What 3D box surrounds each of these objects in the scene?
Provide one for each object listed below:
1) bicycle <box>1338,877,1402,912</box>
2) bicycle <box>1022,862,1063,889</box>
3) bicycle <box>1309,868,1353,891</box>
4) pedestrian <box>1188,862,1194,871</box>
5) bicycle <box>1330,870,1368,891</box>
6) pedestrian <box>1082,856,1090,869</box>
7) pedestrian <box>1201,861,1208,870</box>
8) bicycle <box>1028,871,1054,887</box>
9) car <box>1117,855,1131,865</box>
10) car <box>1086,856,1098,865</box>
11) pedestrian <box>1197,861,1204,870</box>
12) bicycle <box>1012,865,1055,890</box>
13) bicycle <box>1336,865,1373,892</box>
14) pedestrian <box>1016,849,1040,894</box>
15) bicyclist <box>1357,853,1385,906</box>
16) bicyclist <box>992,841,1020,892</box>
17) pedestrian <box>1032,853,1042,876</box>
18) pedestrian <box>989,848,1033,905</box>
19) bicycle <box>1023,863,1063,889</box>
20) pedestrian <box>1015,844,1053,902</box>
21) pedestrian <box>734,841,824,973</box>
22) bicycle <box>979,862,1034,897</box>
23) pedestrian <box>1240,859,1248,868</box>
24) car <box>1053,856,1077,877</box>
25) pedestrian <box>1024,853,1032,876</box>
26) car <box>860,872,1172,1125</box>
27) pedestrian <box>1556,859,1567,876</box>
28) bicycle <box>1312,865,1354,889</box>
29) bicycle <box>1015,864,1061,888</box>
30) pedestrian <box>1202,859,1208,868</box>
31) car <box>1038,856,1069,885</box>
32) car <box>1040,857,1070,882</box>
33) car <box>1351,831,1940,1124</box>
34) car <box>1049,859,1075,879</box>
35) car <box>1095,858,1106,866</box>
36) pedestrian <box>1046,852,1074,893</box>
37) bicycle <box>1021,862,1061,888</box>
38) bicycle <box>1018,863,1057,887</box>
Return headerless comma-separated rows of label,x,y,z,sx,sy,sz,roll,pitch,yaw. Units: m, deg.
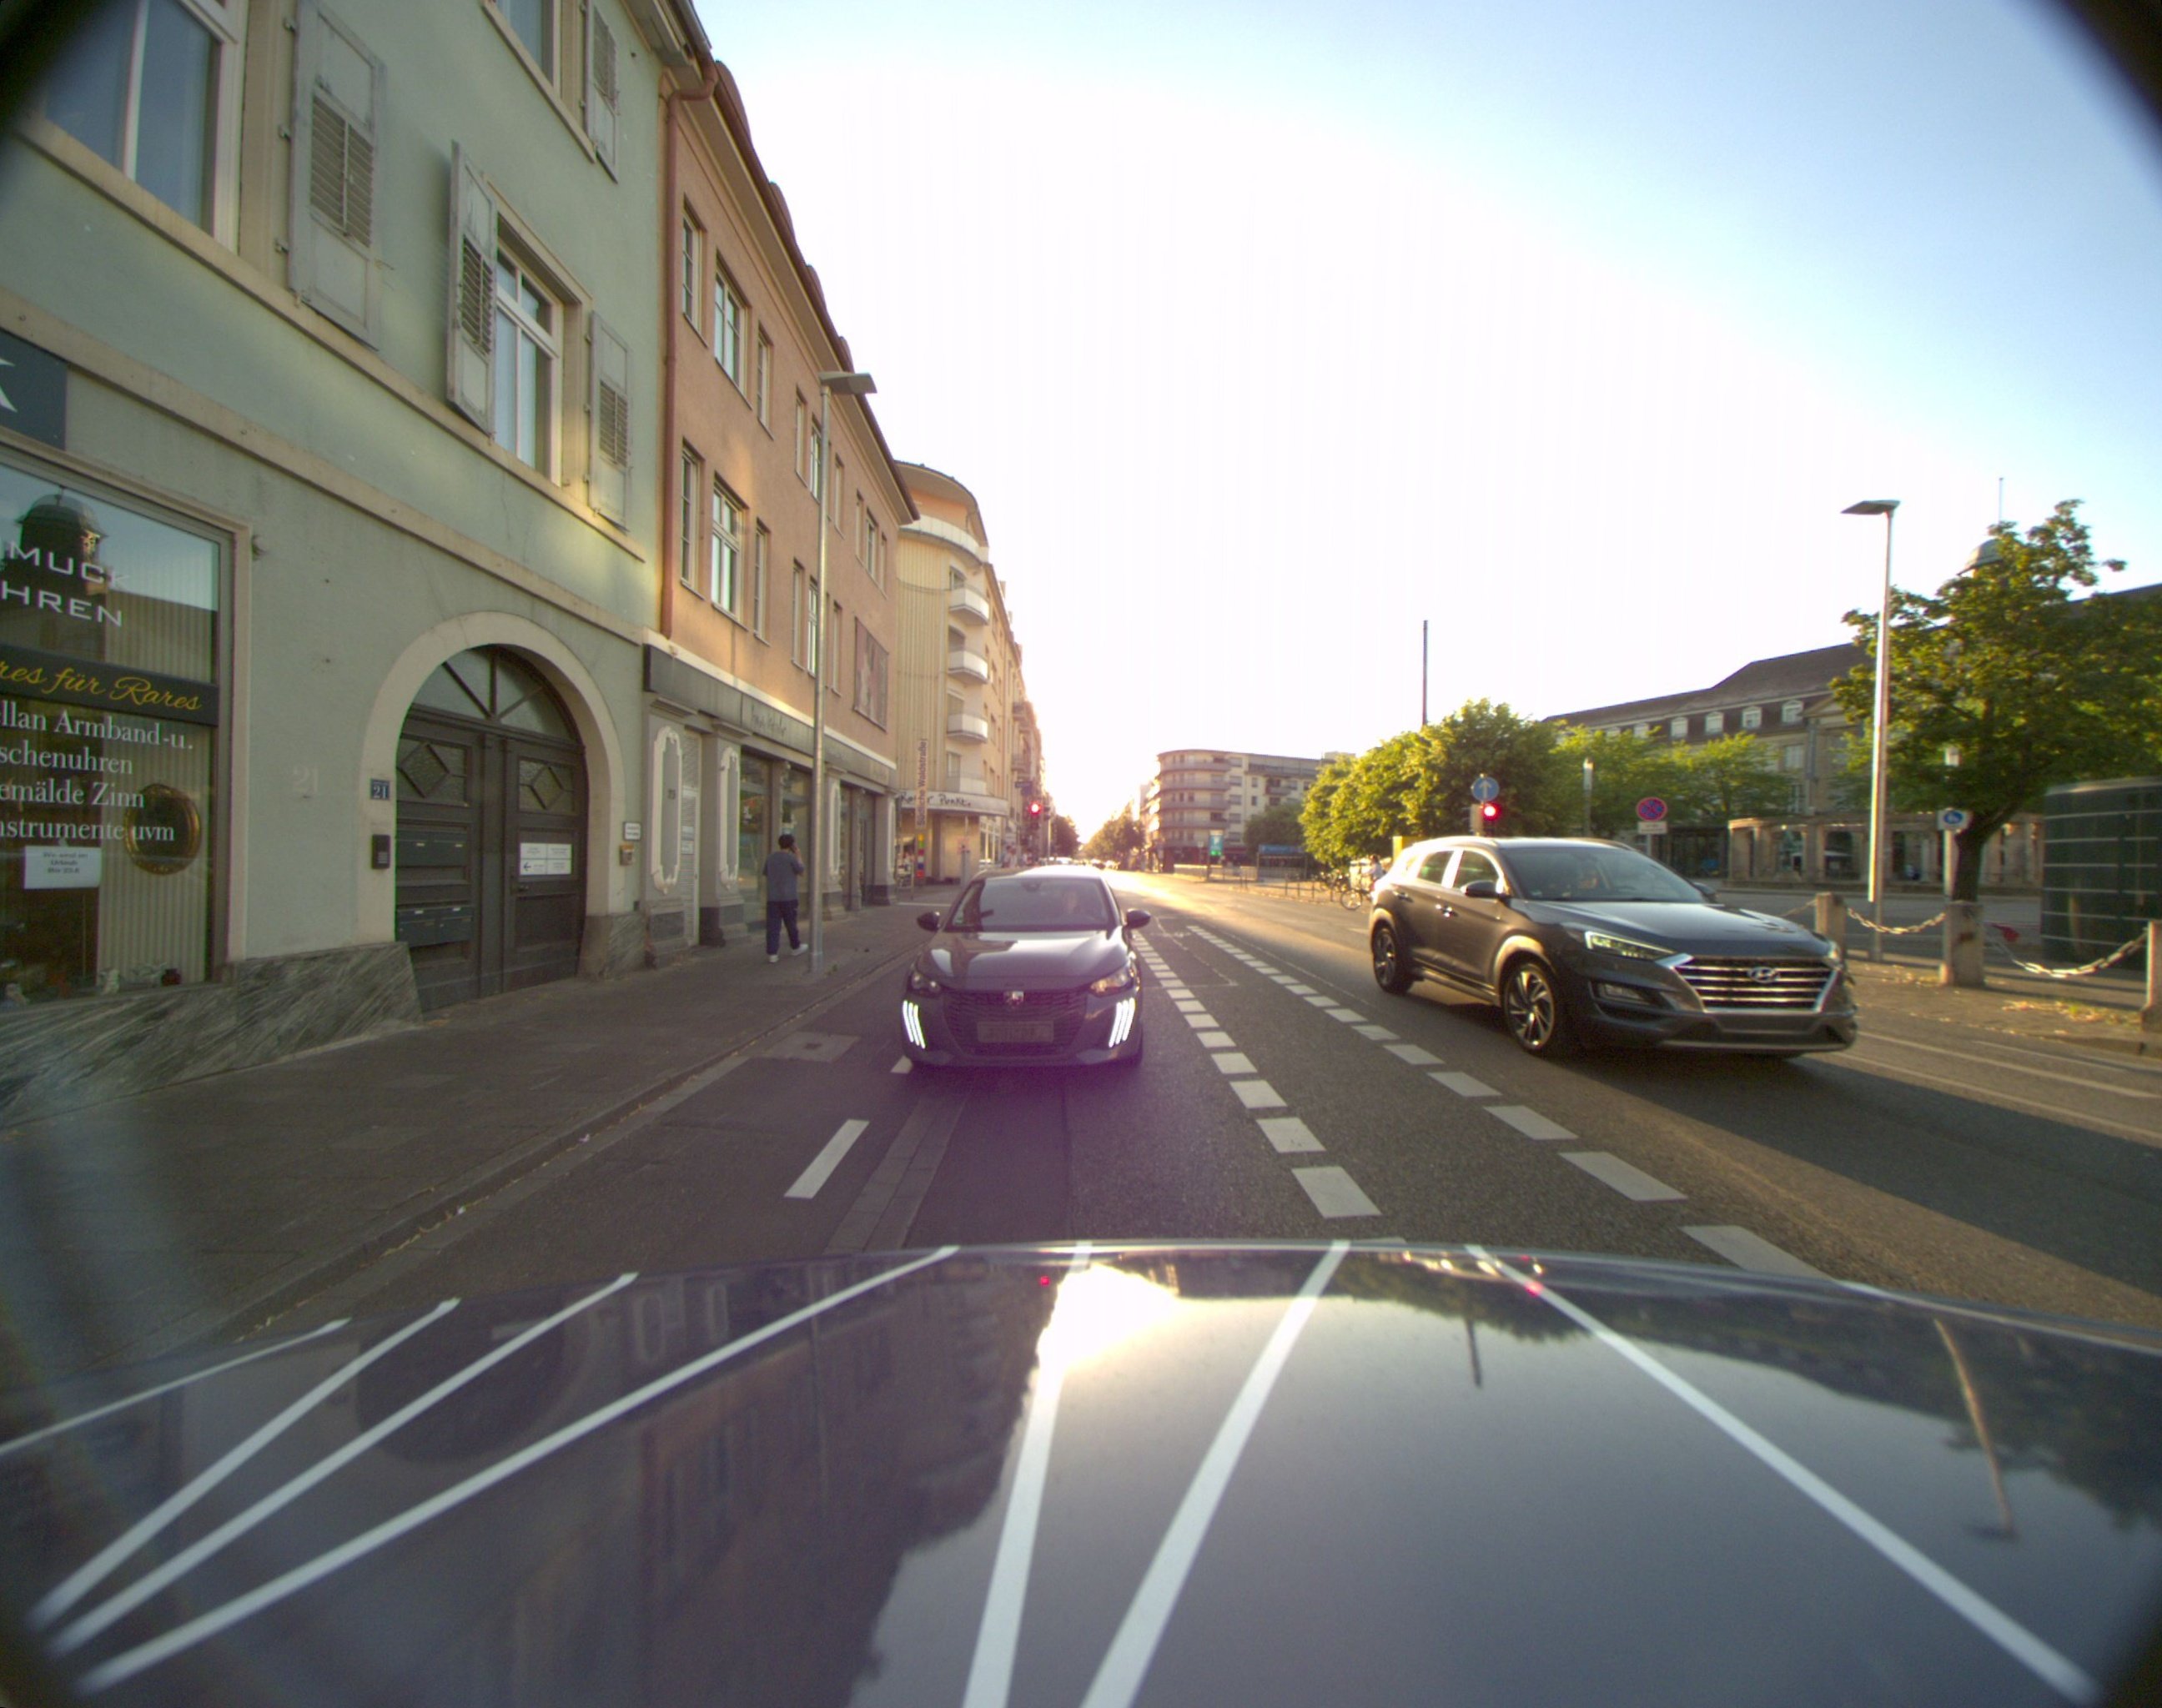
bicycle,9.633,1.341,25.403,1.917,1.111,0.706,1,0,17
bicycle,-1.796,0.982,34.989,1.849,1.232,0.639,1,0,-5
bicycle,12.470,1.268,37.969,2.031,1.128,0.548,-1,0,-4
pedestrian,15.844,1.792,109.700,0.887,1.185,0.733,0,0,9
bicycle,13.115,1.300,37.246,1.678,0.973,0.548,-1,0,-4
pedestrian,0.652,1.040,92.985,0.678,1.508,0.676,1,0,-42
pedestrian,18.179,1.662,111.685,0.689,1.314,0.819,0,0,-24
bicycle,-1.775,1.090,33.403,1.008,0.677,1.049,1,0,-9
car,7.671,1.023,135.706,1.999,1.805,3.999,1,0,-2
car,2.279,1.365,156.759,1.878,1.621,4.177,3,-1,-5
pedestrian,17.467,1.722,111.097,0.732,1.314,0.889,0,0,-1
bicycle,-2.127,1.059,34.051,1.788,1.057,0.718,2,0,-11
bicycle,13.209,1.189,36.722,1.590,1.245,0.445,-1,0,-2
pedestrian,-2.153,0.689,30.847,0.826,1.806,0.870,1,0,-13
bicyclist,9.658,0.839,25.322,0.777,1.714,0.856,1,0,15
bicyclist,-2.703,0.453,27.421,0.835,1.815,0.831,1,0,8
pedestrian,-3.792,0.882,65.590,0.763,2.002,0.851,0,0,0
pedestrian,-2.222,0.690,24.124,1.097,1.764,0.828,1,0,34
bicycle,-1.797,1.031,35.737,1.788,1.166,0.622,2,0,-11
pedestrian,-1.557,0.622,25.194,0.938,1.886,0.827,1,0,22
pedestrian,-3.891,0.658,9.865,0.825,1.632,0.871,1,0,-2
bicycle,-2.674,0.910,27.404,1.823,1.179,0.794,1,0,9
pedestrian,24.154,1.390,112.608,0.731,1.314,0.891,0,0,39
car,-1.282,1.031,62.106,1.877,1.664,4.430,0,0,0
pedestrian,-4.561,0.910,65.501,0.673,2.002,0.851,0,0,0
car,-0.346,0.936,6.878,1.908,1.438,4.450,0,0,1
pedestrian,30.527,0.850,48.240,0.461,1.057,0.531,-1,-2,20
bicycle,13.158,1.189,39.691,2.031,1.245,0.548,-1,0,-4
bicycle,-2.112,1.070,37.320,2.176,1.069,0.805,2,0,-7
pedestrian,18.152,1.450,111.038,0.732,1.314,0.888,0,0,-2
car,-1.620,0.950,44.655,1.702,1.607,4.682,0,0,-2
car,-1.724,1.001,50.932,1.821,1.611,4.203,0,0,0
car,4.118,0.747,6.702,1.877,1.679,4.450,1,0,1
car,-1.391,1.103,56.554,1.738,1.448,4.610,0,0,1
car,3.703,1.503,142.269,1.790,1.458,3.956,1,0,-1
pedestrian,-0.876,0.765,31.371,0.789,1.643,0.782,1,0,43
bicycle,-1.933,1.020,36.368,1.788,1.166,0.622,2,0,-11
bicycle,-2.206,1.060,38.319,1.851,1.117,0.594,2,1,-11
